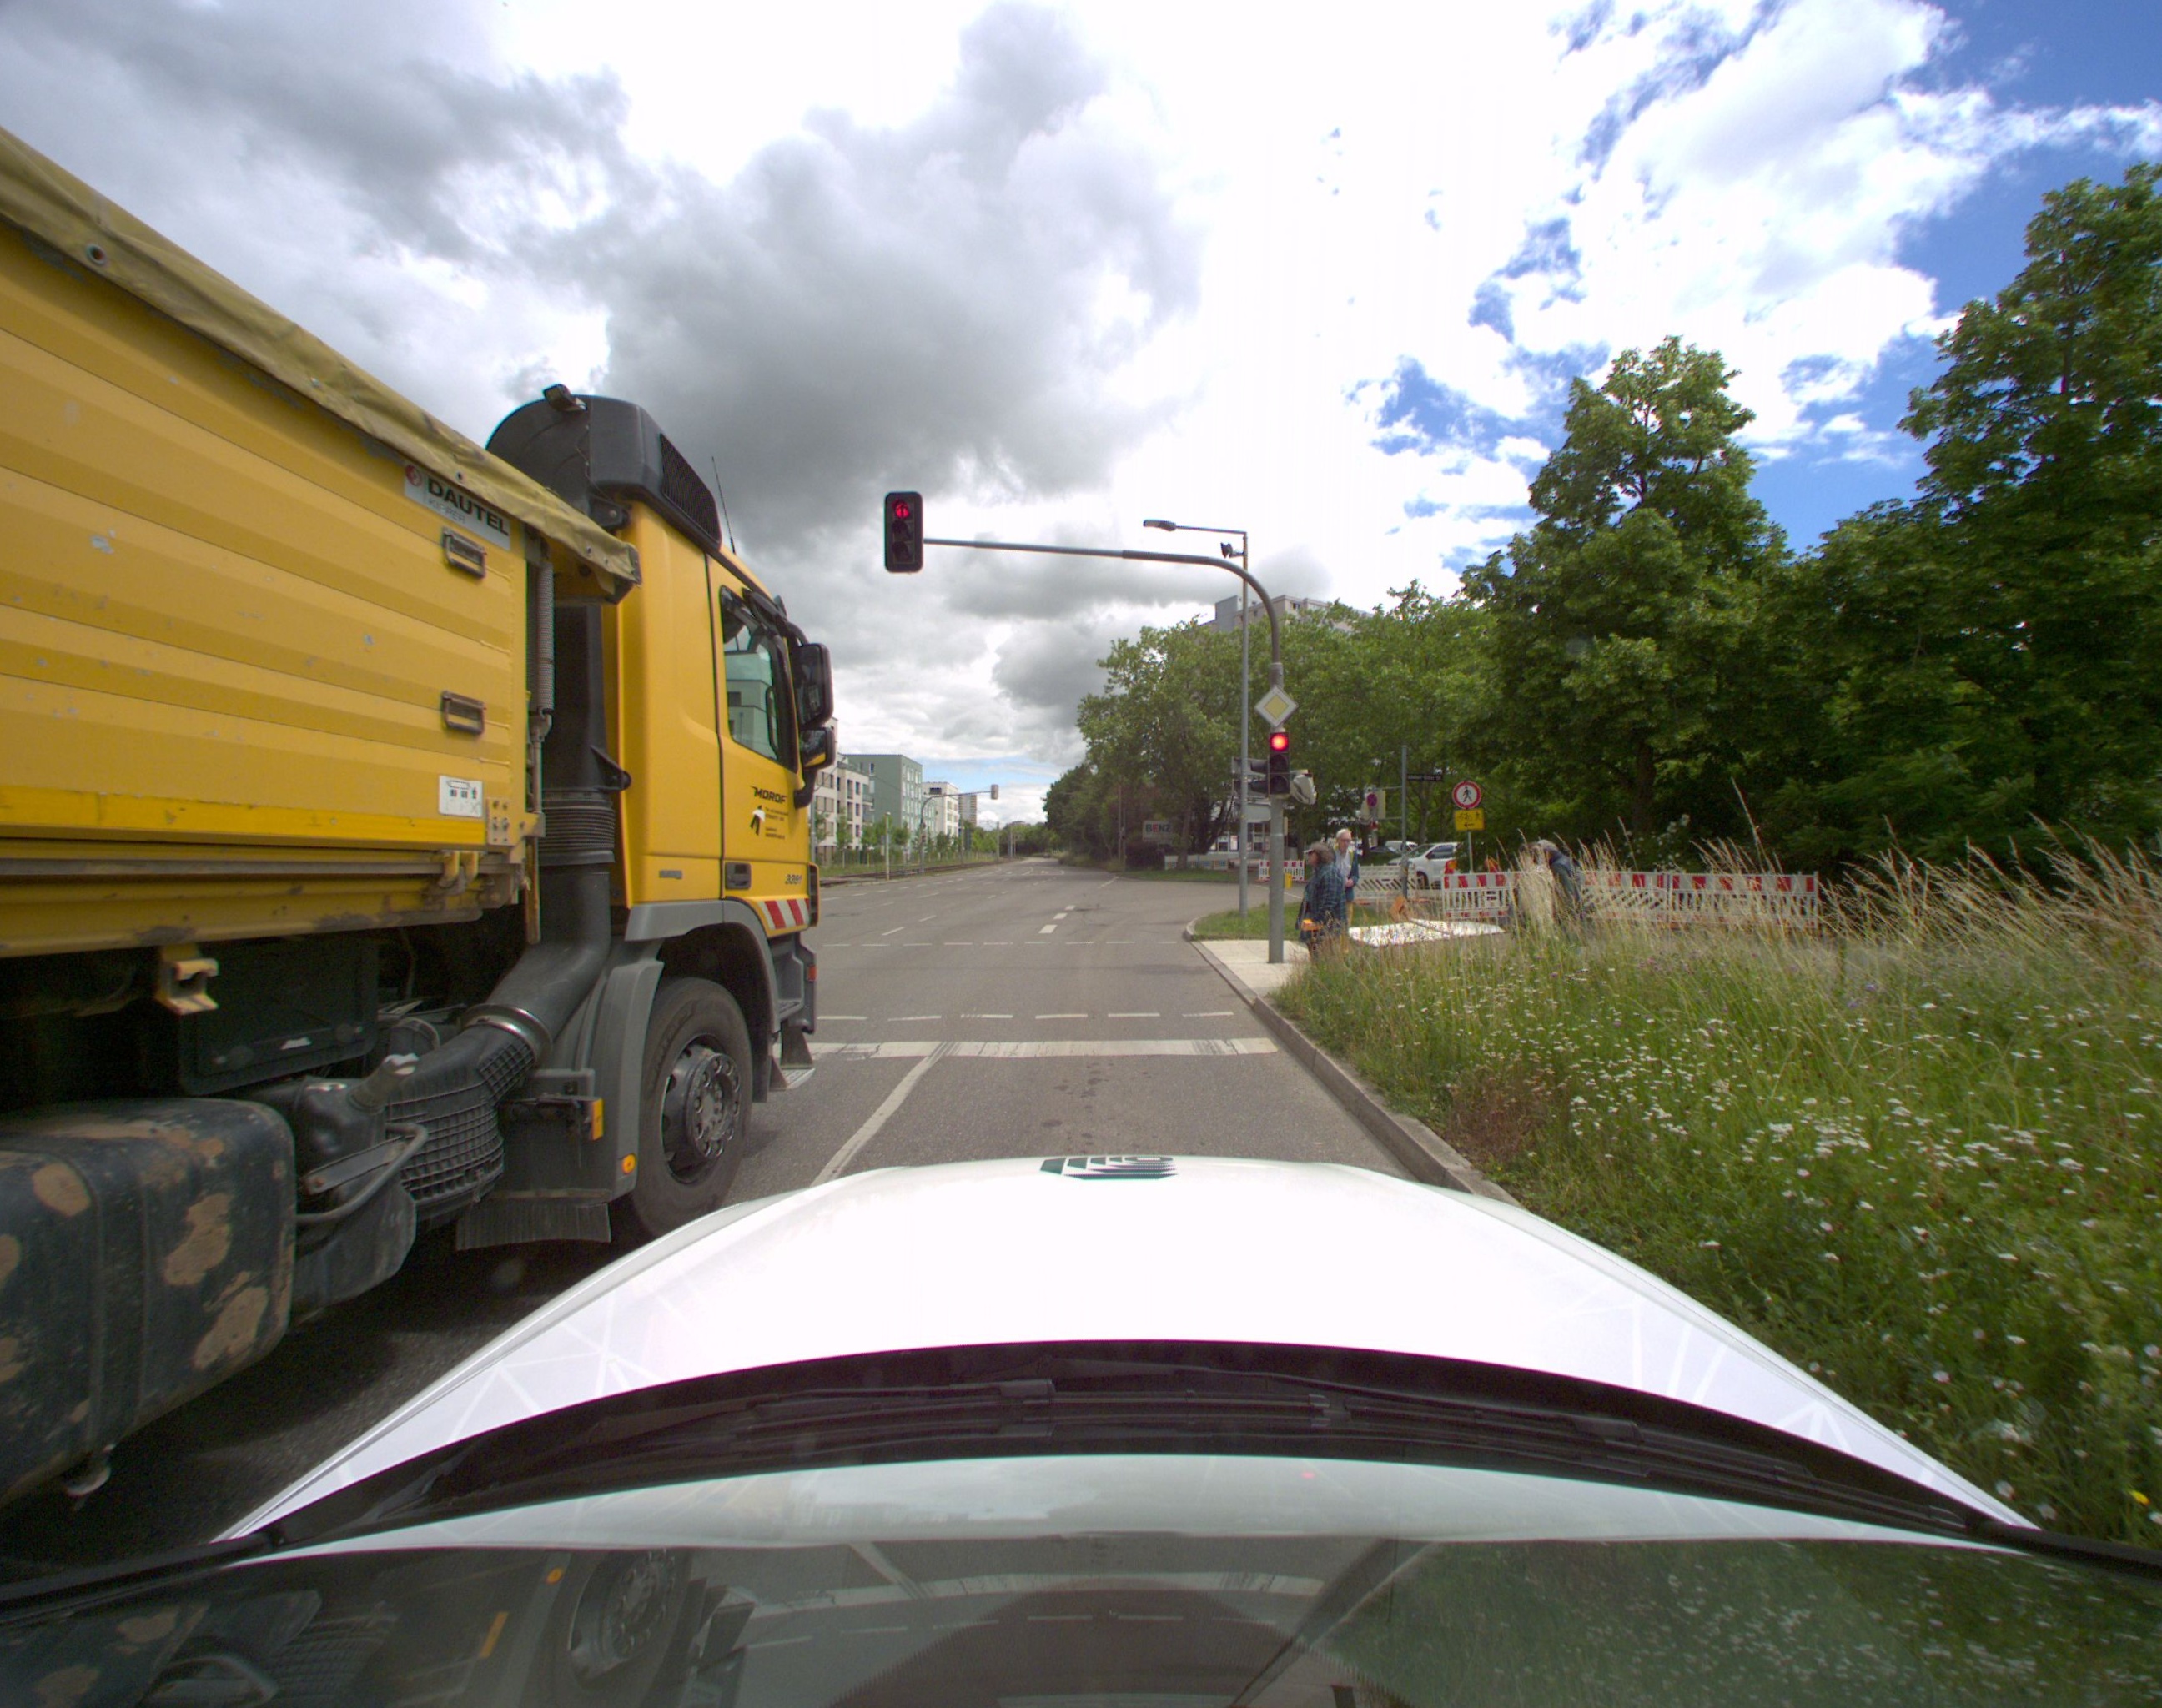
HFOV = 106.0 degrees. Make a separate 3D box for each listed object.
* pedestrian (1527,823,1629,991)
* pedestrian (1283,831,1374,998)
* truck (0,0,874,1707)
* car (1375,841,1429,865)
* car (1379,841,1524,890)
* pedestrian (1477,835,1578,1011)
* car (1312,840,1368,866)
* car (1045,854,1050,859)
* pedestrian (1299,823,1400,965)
[{"bbox_3d":[5.207,0.518,8.516,0.860,1.634,0.770,-1,0,34],"label":"pedestrian"},{"bbox_3d":[2.579,0.606,8.562,0.817,1.671,0.735,-1,0,10],"label":"pedestrian"},{"bbox_3d":[-2.850,-0.217,0.980,3.039,3.394,8.006,-1,0,1],"label":"truck"},{"bbox_3d":[27.453,-0.072,69.777,2.006,2.013,3.962,-1,0,-29],"label":"car"},{"bbox_3d":[15.060,0.448,33.247,5.063,1.874,1.947,-1,0,-2],"label":"car"},{"bbox_3d":[4.465,0.642,8.129,0.814,1.640,0.738,-1,0,33],"label":"pedestrian"},{"bbox_3d":[20.707,-0.093,65.163,2.006,2.013,3.962,-1,0,-29],"label":"car"},{"bbox_3d":[-10.501,0.709,252.333,1.590,1.354,3.996,0,-1,-3],"label":"car"},{"bbox_3d":[3.512,0.497,10.737,0.944,1.774,1.011,0,0,-5],"label":"pedestrian"}]
